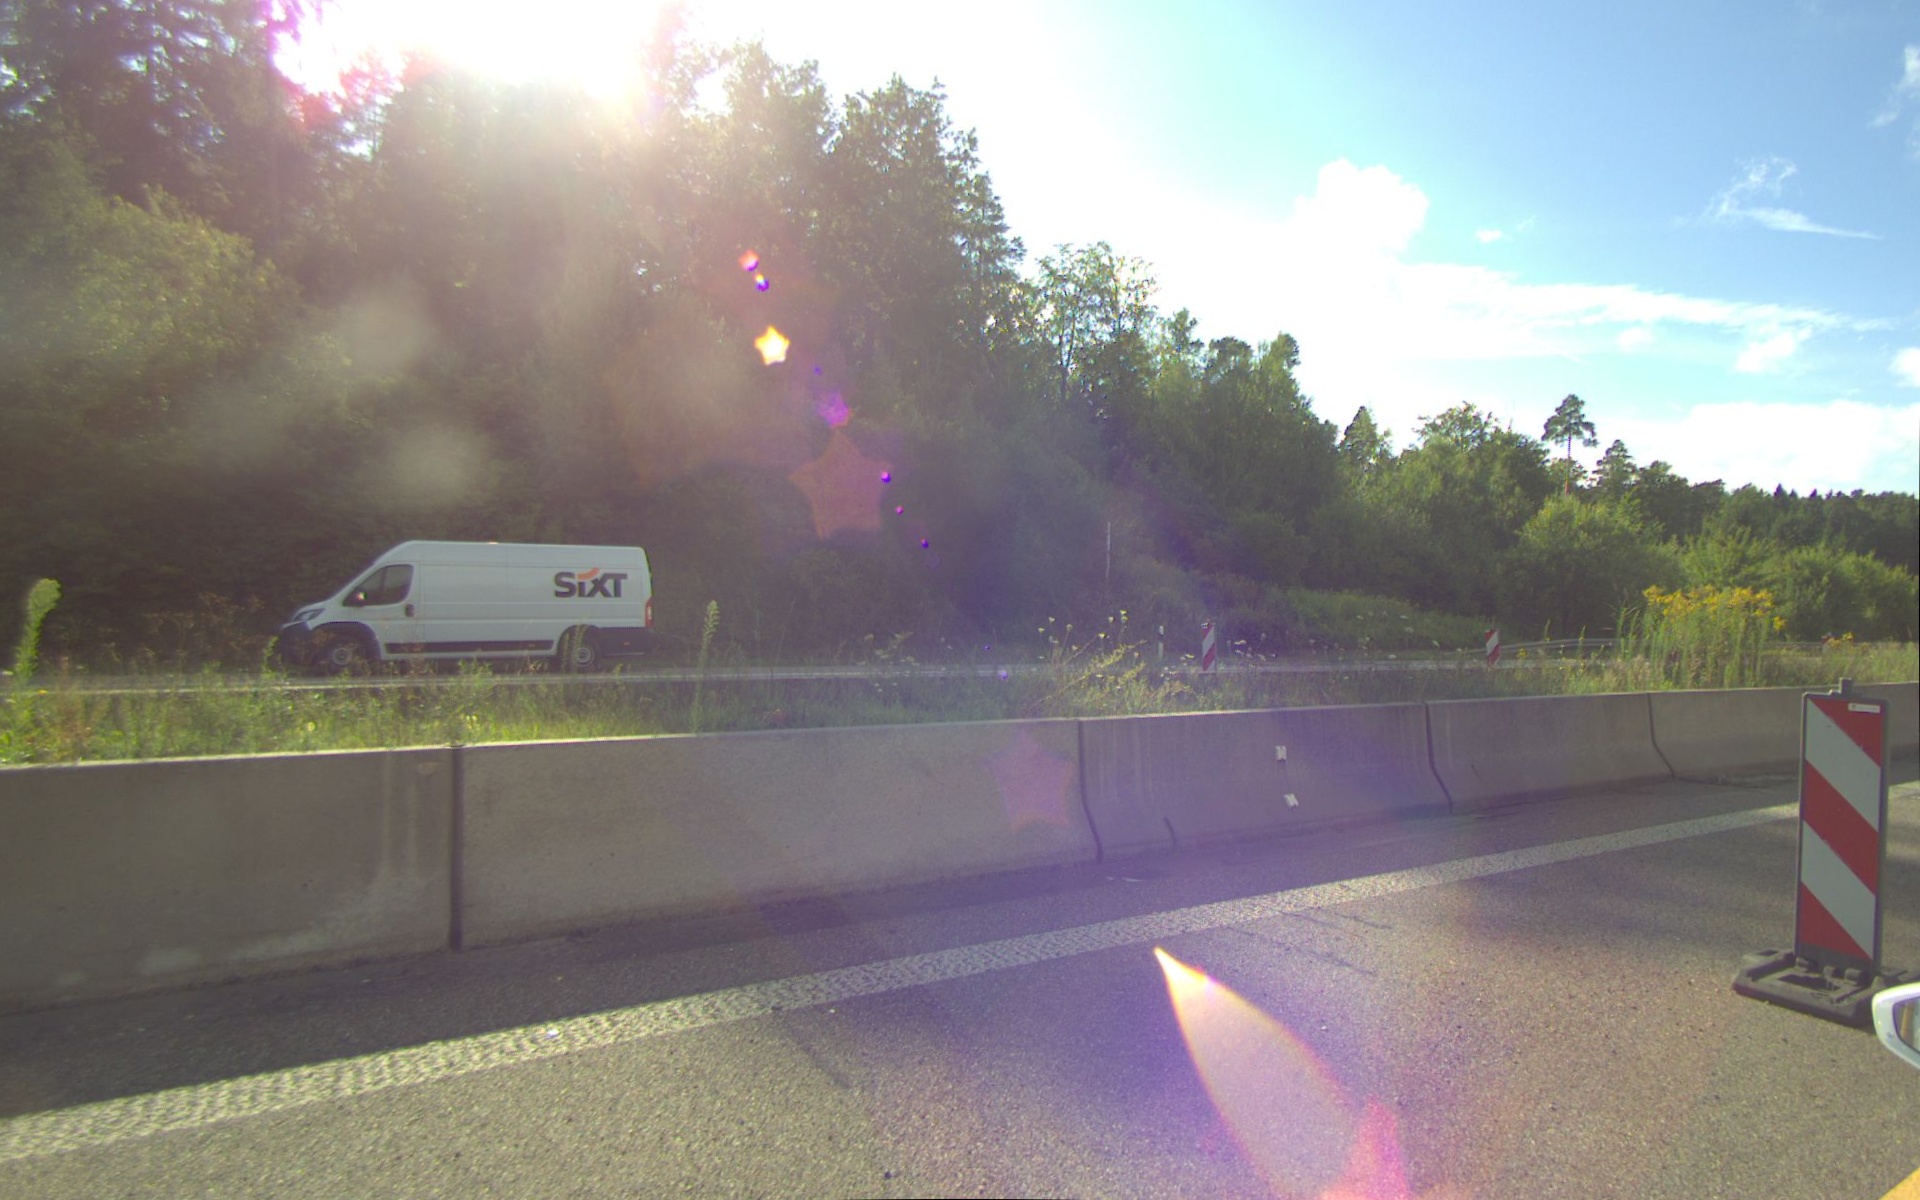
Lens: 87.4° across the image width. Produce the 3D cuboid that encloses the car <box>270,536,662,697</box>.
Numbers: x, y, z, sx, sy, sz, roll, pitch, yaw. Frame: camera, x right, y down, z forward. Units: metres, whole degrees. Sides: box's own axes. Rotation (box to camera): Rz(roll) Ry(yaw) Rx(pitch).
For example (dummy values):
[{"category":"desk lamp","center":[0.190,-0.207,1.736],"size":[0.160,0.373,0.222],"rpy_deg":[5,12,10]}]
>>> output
[{"category":"car","center":[-9.301,0.373,19.423],"size":[6.447,2.720,2.018],"rpy_deg":[2,0,-31]}]
